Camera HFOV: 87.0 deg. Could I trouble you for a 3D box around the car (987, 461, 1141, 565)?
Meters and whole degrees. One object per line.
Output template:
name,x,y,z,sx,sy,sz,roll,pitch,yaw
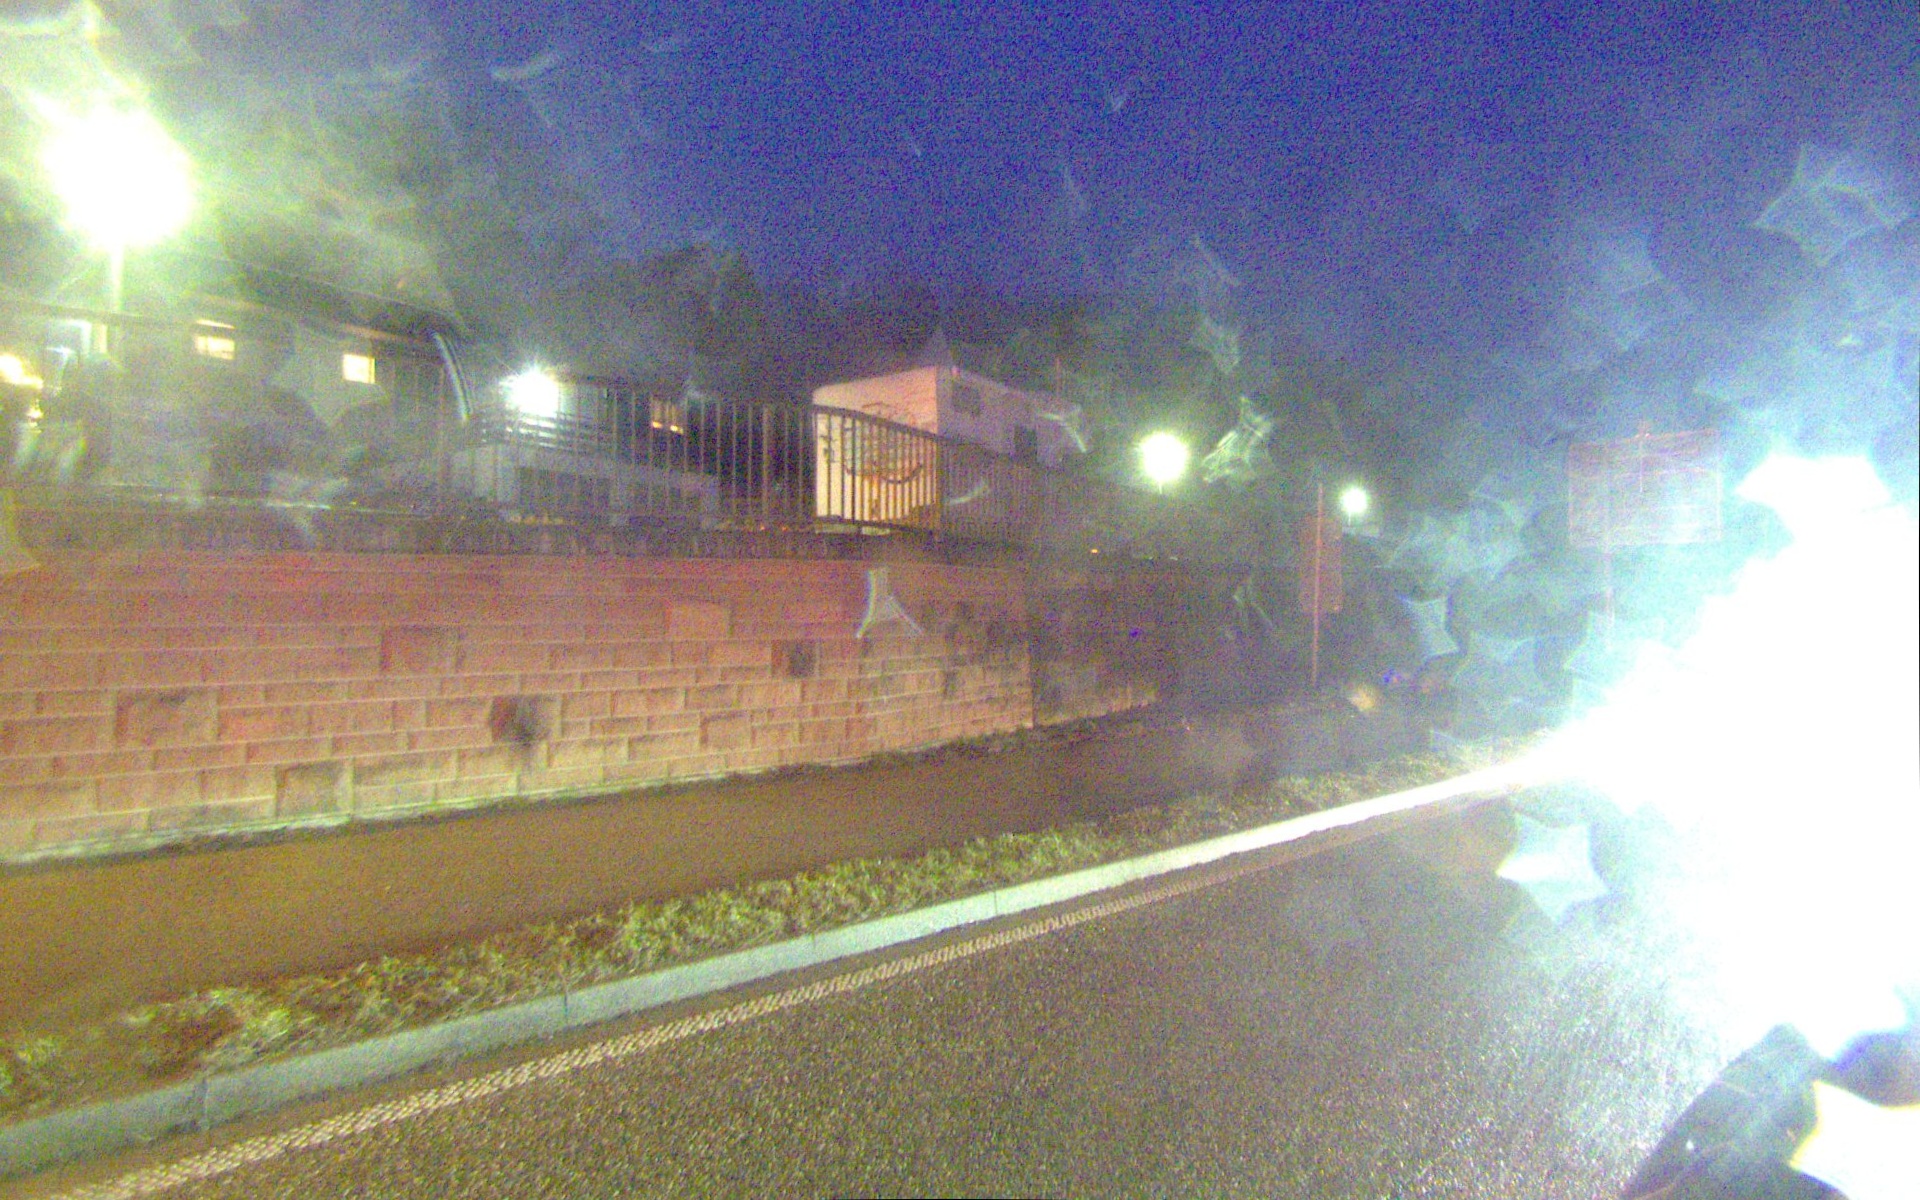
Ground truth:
car,2.468,-1.881,23.237,1.985,2.039,3.954,0,0,32

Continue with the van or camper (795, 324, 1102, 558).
van or camper,0.098,-2.193,16.231,2.395,2.828,5.712,0,0,30

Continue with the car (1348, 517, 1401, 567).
car,22.232,-3.065,54.217,1.922,2.451,4.206,0,0,32

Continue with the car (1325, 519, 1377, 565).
car,19.263,-2.803,49.813,1.721,2.039,3.658,0,0,32

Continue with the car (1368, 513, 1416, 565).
car,25.099,-3.491,58.742,1.922,2.810,4.206,0,0,32
